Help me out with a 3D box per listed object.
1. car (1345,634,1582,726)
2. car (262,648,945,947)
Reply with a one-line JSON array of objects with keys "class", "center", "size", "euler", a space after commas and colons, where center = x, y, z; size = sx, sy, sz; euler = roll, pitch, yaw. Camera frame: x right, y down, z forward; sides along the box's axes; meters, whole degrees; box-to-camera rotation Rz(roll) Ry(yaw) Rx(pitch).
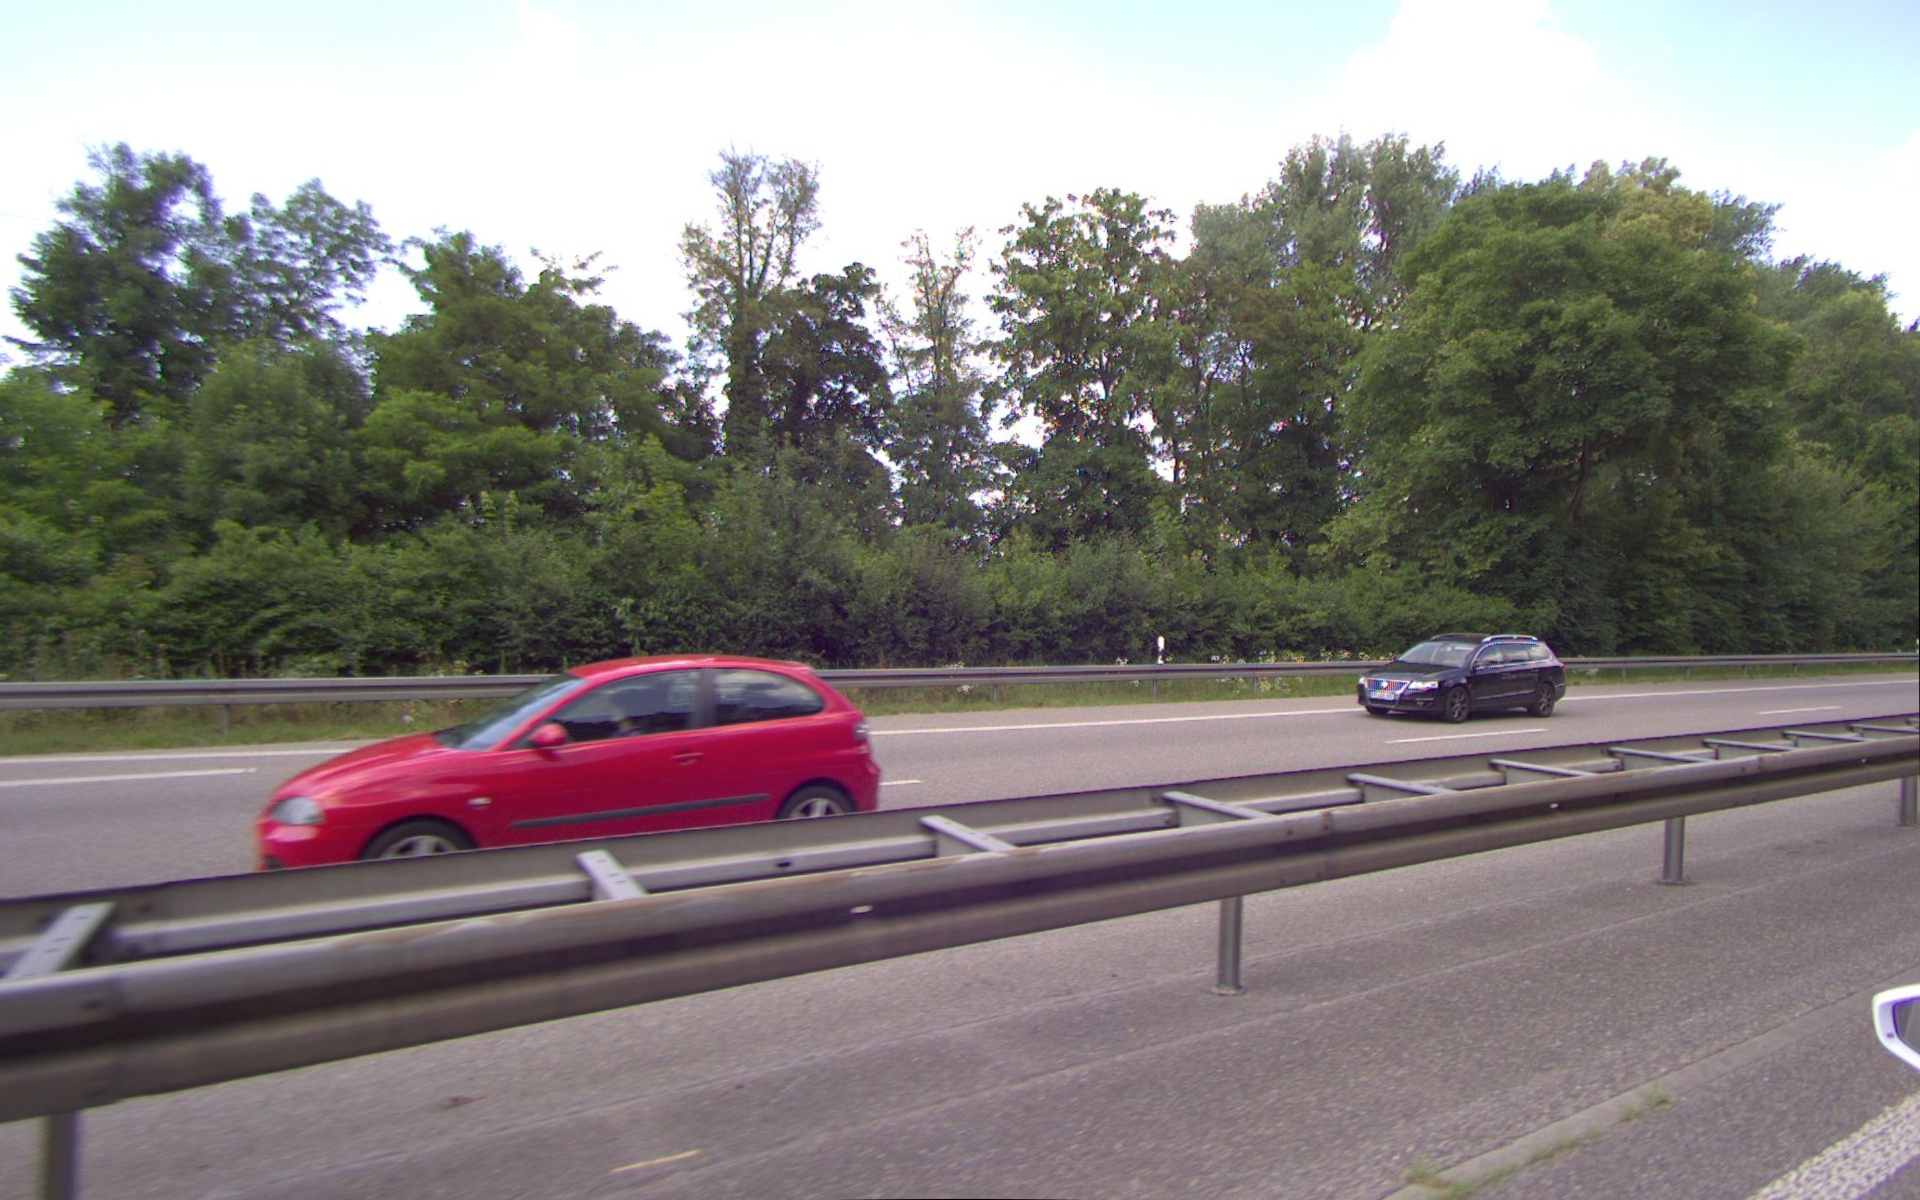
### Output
[{"class": "car", "center": [9.507, 1.418, 18.874], "size": [4.514, 1.497, 1.778], "euler": [1, 0, -30]}, {"class": "car", "center": [-2.287, 1.120, 7.022], "size": [4.078, 1.474, 1.671], "euler": [1, 0, -30]}]
